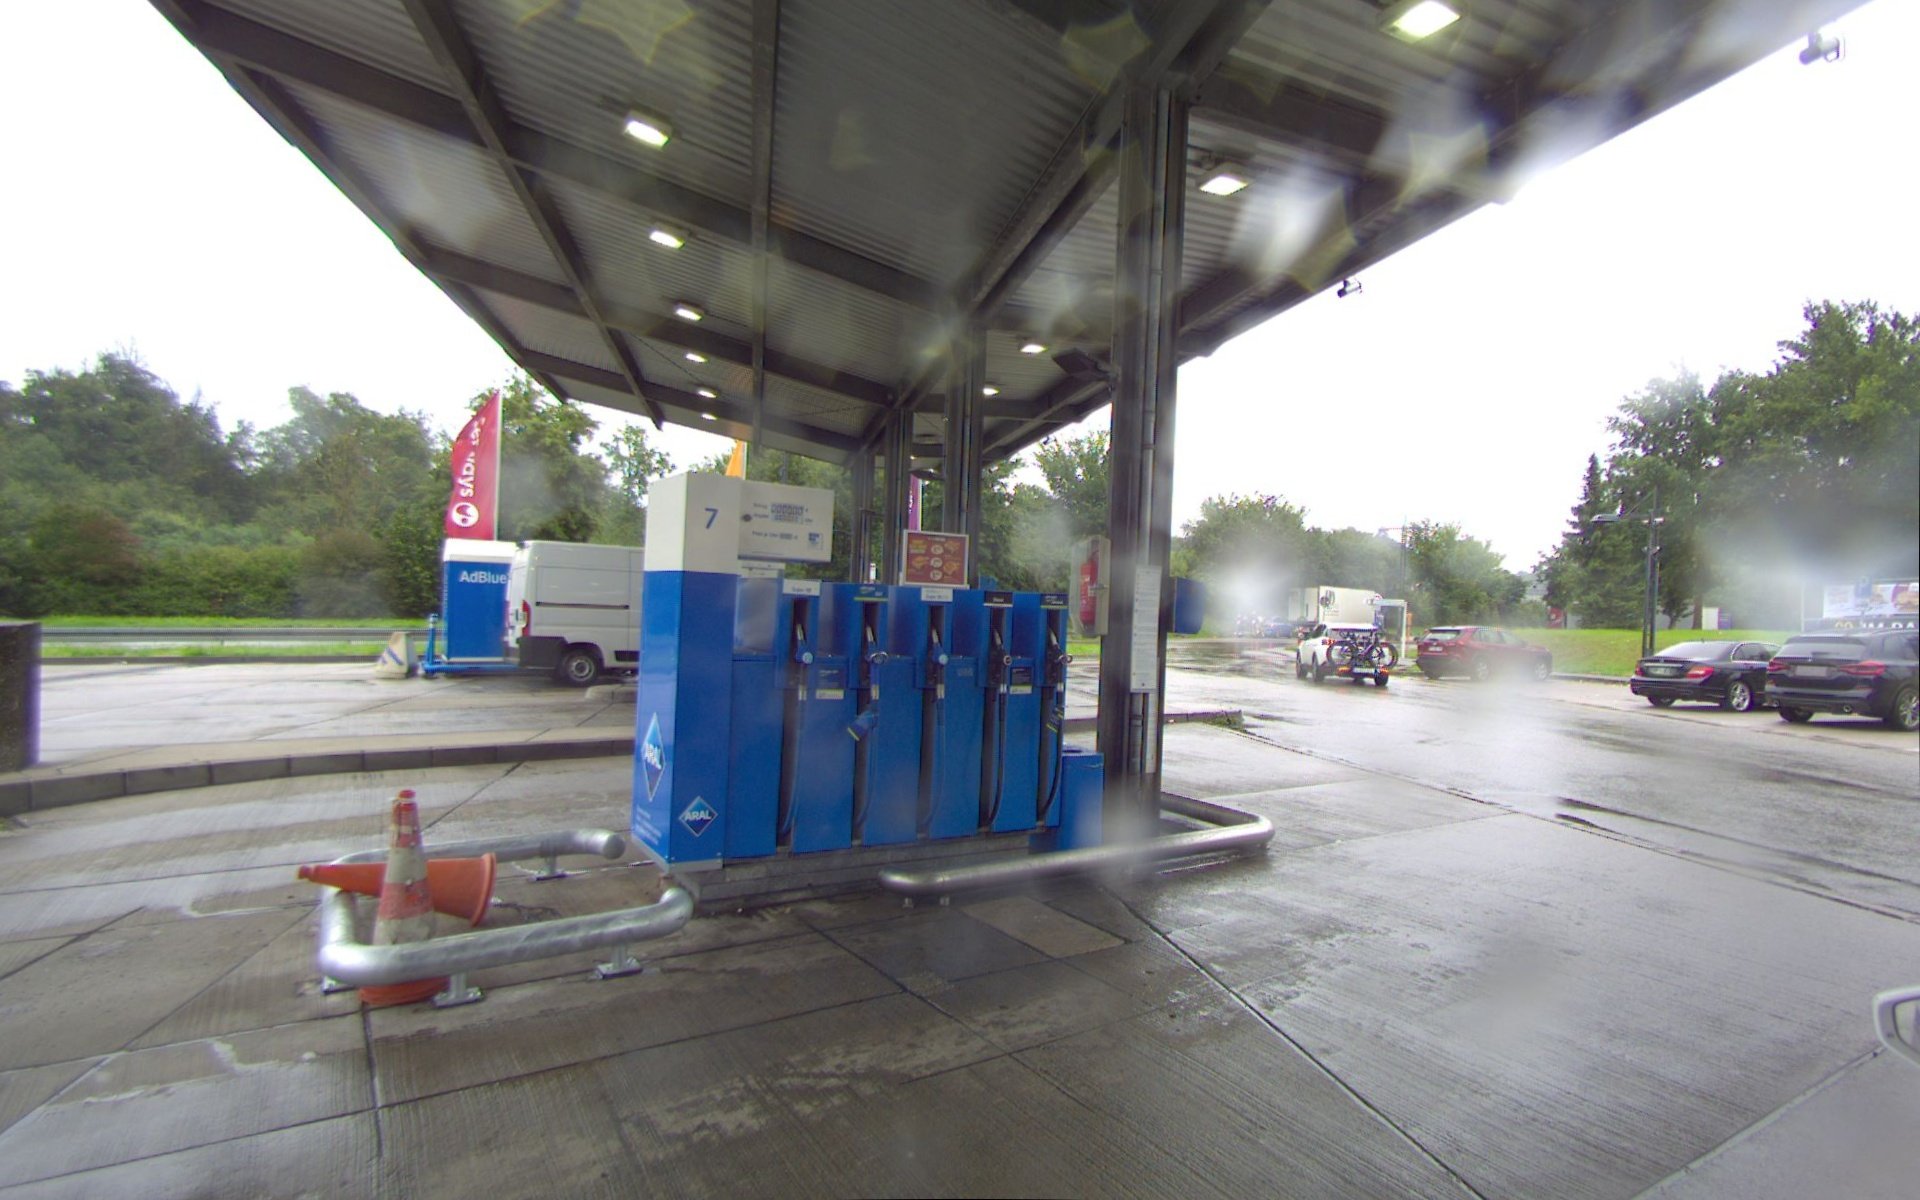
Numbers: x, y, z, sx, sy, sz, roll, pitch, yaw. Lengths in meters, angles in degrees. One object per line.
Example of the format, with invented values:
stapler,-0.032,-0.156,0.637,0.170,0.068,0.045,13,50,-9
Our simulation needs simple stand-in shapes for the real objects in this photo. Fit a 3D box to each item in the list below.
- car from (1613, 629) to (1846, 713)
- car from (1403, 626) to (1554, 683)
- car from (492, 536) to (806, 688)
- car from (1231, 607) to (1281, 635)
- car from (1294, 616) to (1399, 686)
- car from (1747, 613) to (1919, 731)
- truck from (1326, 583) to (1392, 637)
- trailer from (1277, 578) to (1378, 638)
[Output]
car,15.925,1.419,20.830,4.119,1.585,1.883,1,-1,-19
car,15.987,1.647,30.976,4.294,1.617,1.879,1,-1,-24
car,-5.781,0.268,18.954,5.227,2.496,2.306,1,-1,-34
car,20.893,1.456,70.838,1.903,1.862,4.373,1,0,38
car,10.132,1.262,26.695,1.783,1.586,5.007,1,0,12
car,16.139,1.191,17.410,4.344,1.852,1.883,1,-1,-19
truck,35.566,0.925,89.468,3.416,4.618,6.704,2,0,40
trailer,30.894,0.754,83.863,3.416,4.618,13.847,2,0,40
